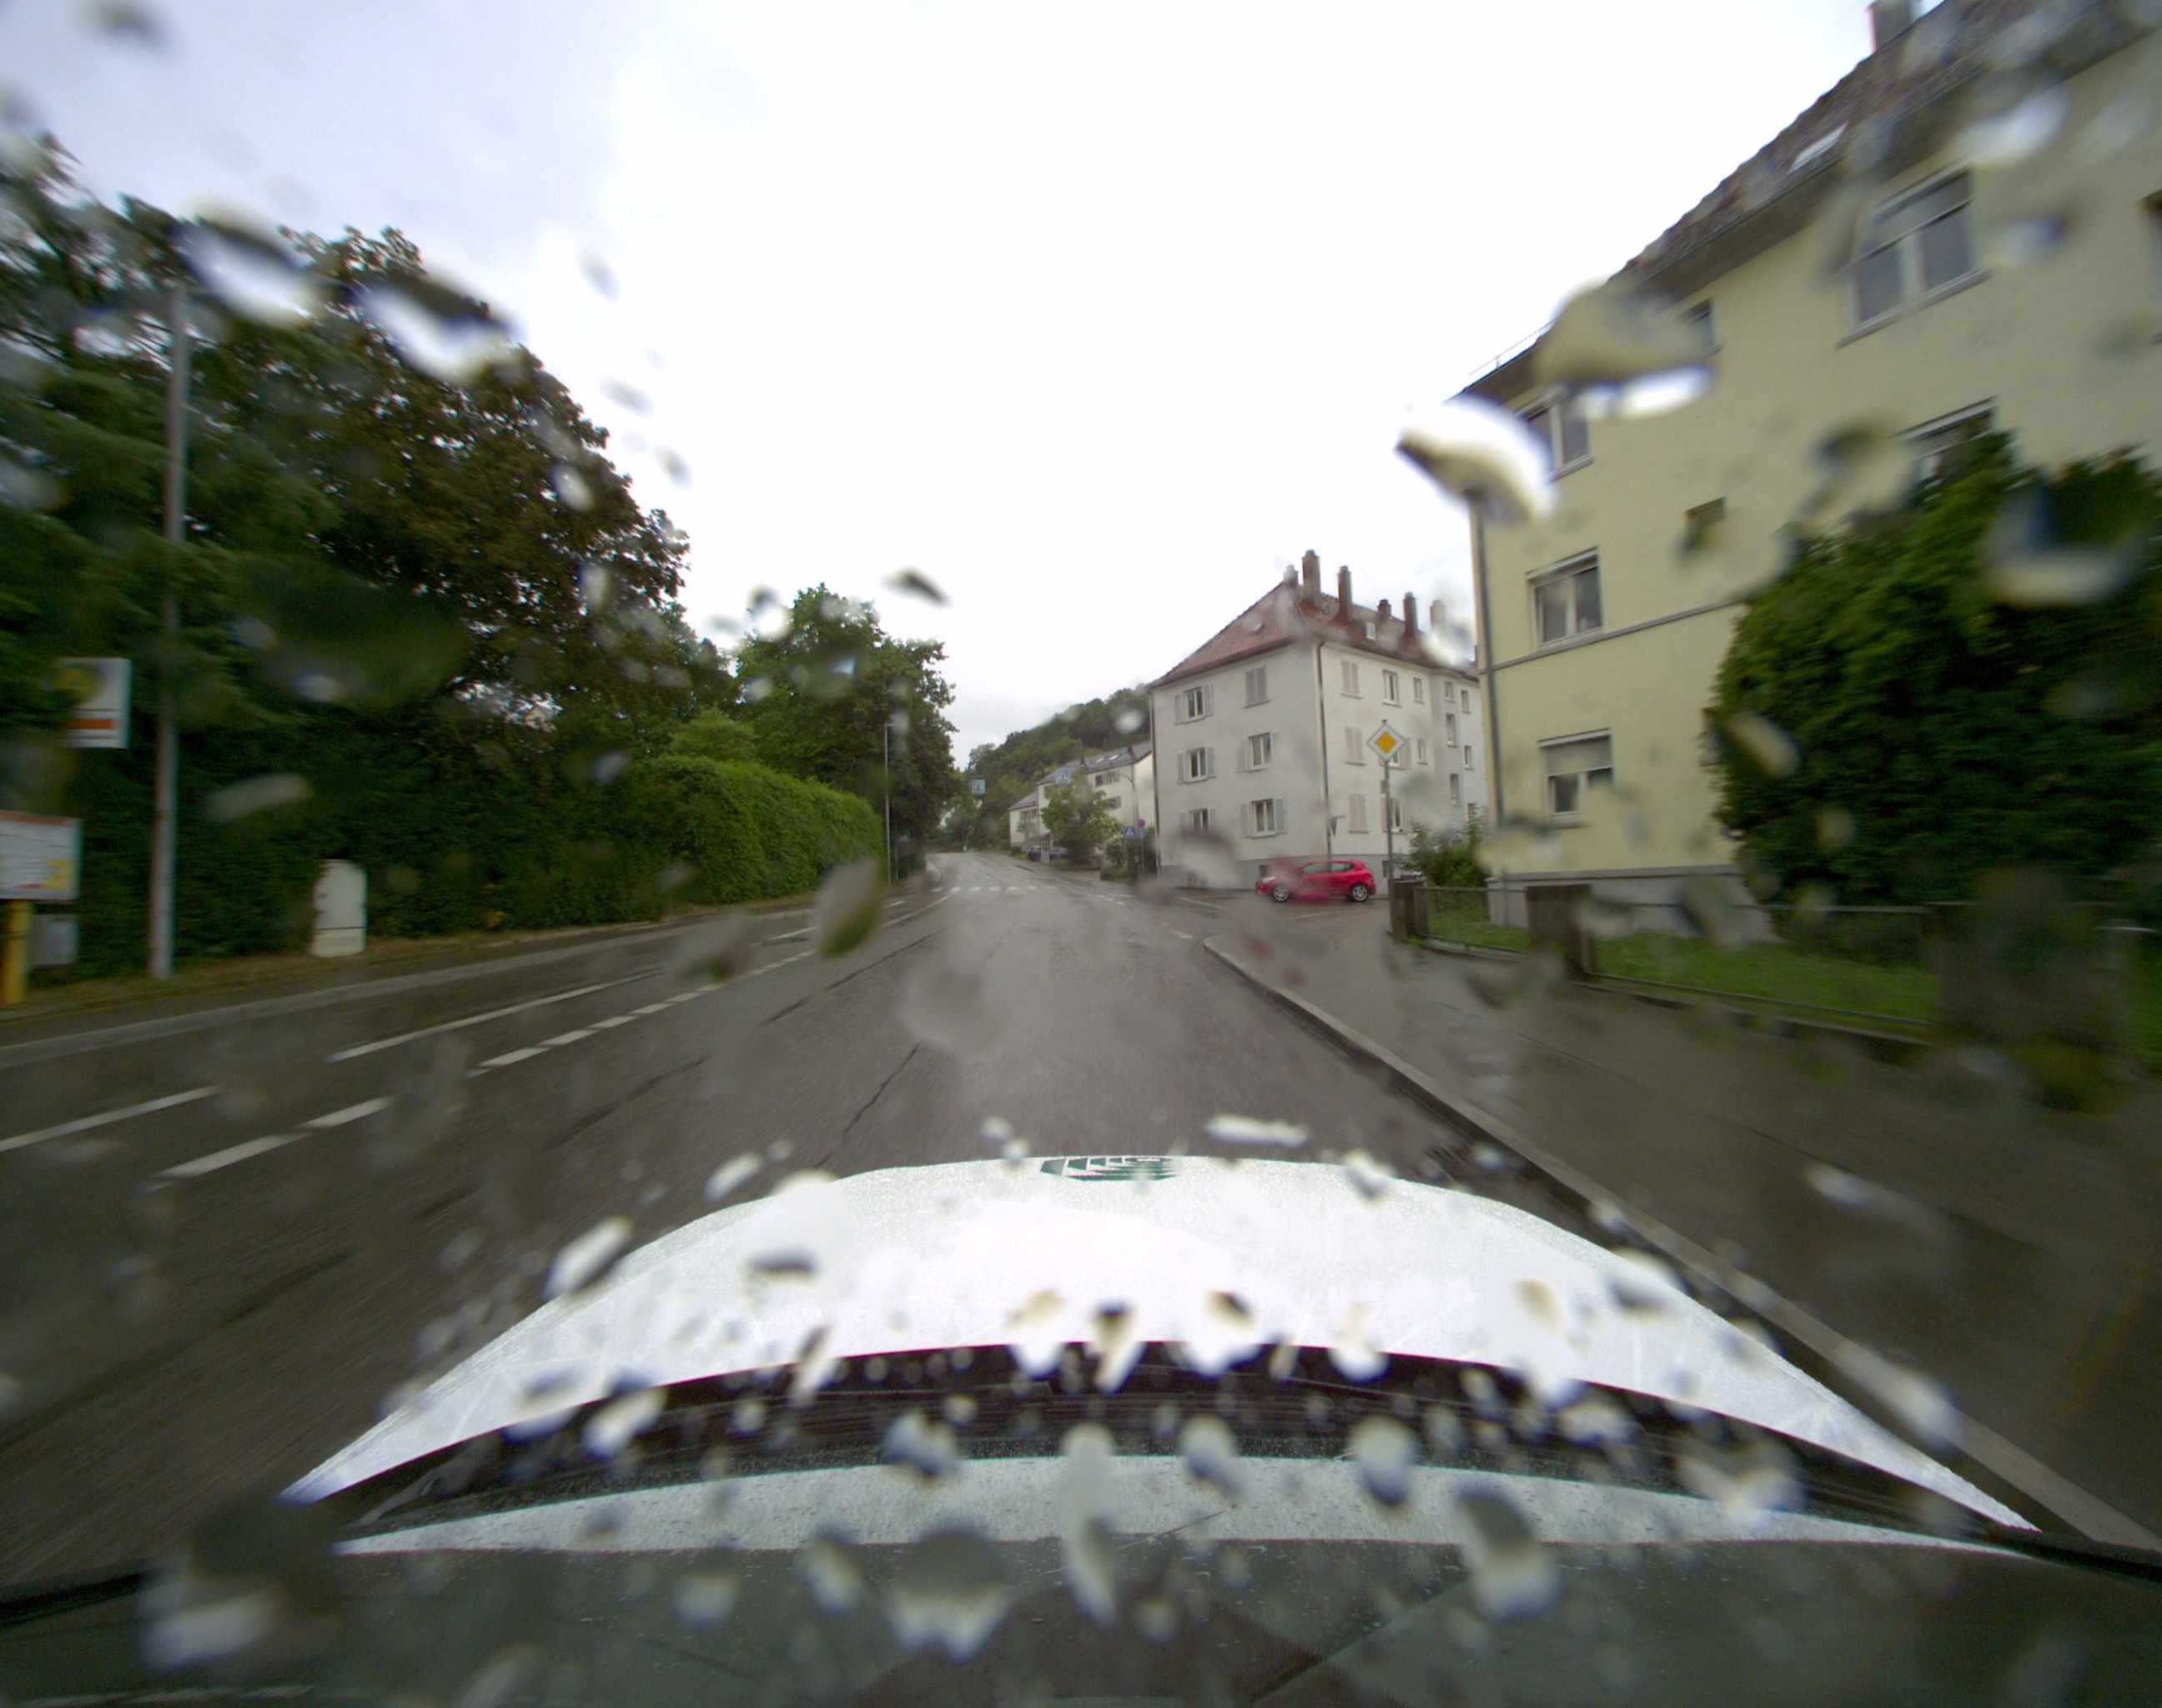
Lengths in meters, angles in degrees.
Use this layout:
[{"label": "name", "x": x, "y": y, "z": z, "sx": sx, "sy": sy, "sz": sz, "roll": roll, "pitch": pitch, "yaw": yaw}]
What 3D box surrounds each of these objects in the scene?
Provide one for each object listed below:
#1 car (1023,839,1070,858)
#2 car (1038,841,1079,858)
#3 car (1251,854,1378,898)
[{"label": "car", "x": -3.627, "y": -0.589, "z": 85.658, "sx": 4.540, "sy": 1.660, "sz": 1.844, "roll": -3, "pitch": 3, "yaw": -19}, {"label": "car", "x": -2.250, "y": -0.428, "z": 80.618, "sx": 3.749, "sy": 1.458, "sz": 1.717, "roll": -3, "pitch": 3, "yaw": -14}, {"label": "car", "x": 7.951, "y": 0.738, "z": 28.073, "sx": 4.055, "sy": 1.407, "sz": 1.729, "roll": 0, "pitch": 0, "yaw": 9}]
